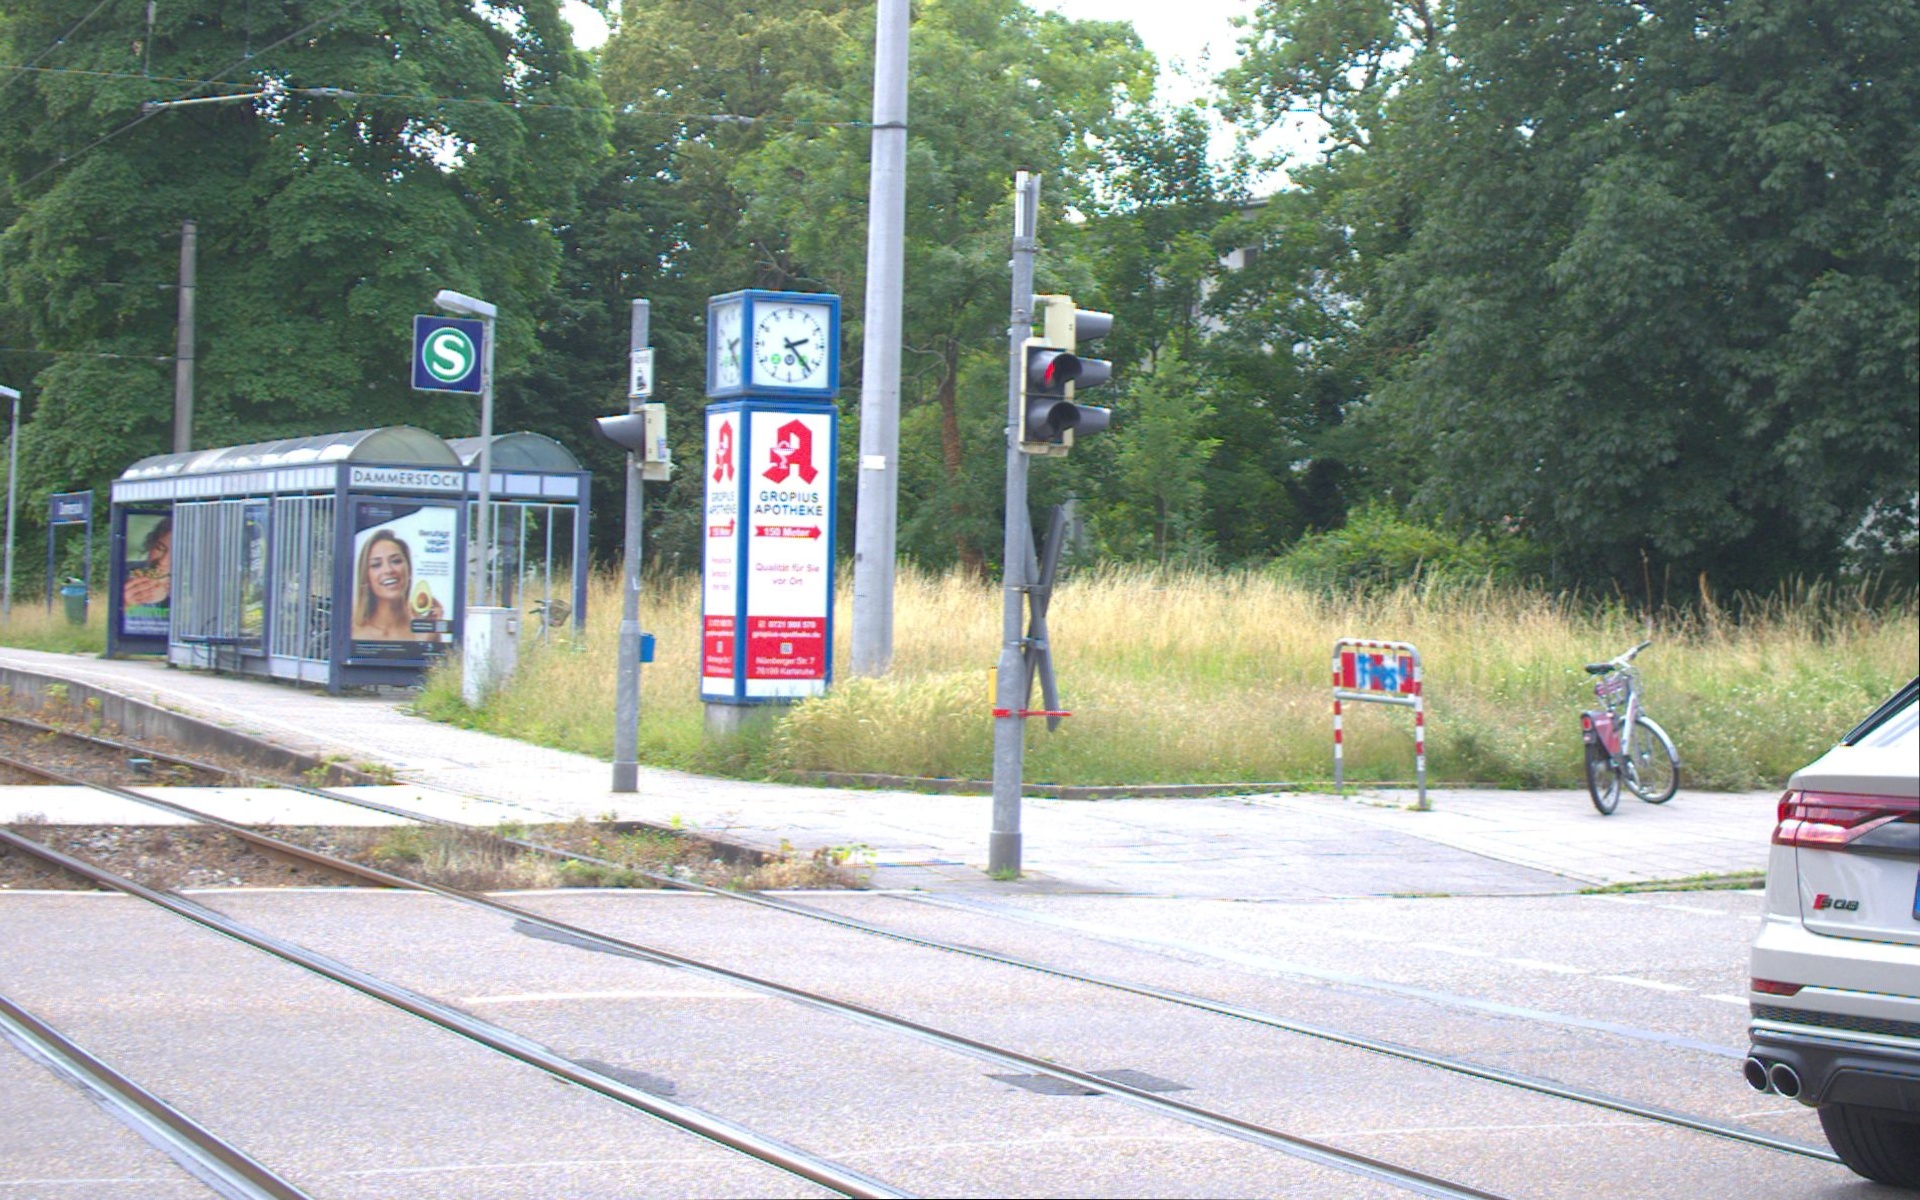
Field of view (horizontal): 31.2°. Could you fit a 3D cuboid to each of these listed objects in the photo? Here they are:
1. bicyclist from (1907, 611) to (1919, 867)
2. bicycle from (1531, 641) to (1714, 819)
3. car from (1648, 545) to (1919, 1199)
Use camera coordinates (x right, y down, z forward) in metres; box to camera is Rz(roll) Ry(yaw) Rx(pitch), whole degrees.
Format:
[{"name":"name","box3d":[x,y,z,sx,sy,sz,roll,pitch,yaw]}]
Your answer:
[{"name":"bicyclist","box3d":[5.966,0.816,19.801,0.838,1.470,0.455,2,0,-22]},{"name":"bicycle","box3d":[4.648,0.884,24.049,0.700,1.128,1.658,3,2,31]},{"name":"car","box3d":[4.126,0.771,9.399,4.560,1.678,1.987,2,-1,-41]}]
